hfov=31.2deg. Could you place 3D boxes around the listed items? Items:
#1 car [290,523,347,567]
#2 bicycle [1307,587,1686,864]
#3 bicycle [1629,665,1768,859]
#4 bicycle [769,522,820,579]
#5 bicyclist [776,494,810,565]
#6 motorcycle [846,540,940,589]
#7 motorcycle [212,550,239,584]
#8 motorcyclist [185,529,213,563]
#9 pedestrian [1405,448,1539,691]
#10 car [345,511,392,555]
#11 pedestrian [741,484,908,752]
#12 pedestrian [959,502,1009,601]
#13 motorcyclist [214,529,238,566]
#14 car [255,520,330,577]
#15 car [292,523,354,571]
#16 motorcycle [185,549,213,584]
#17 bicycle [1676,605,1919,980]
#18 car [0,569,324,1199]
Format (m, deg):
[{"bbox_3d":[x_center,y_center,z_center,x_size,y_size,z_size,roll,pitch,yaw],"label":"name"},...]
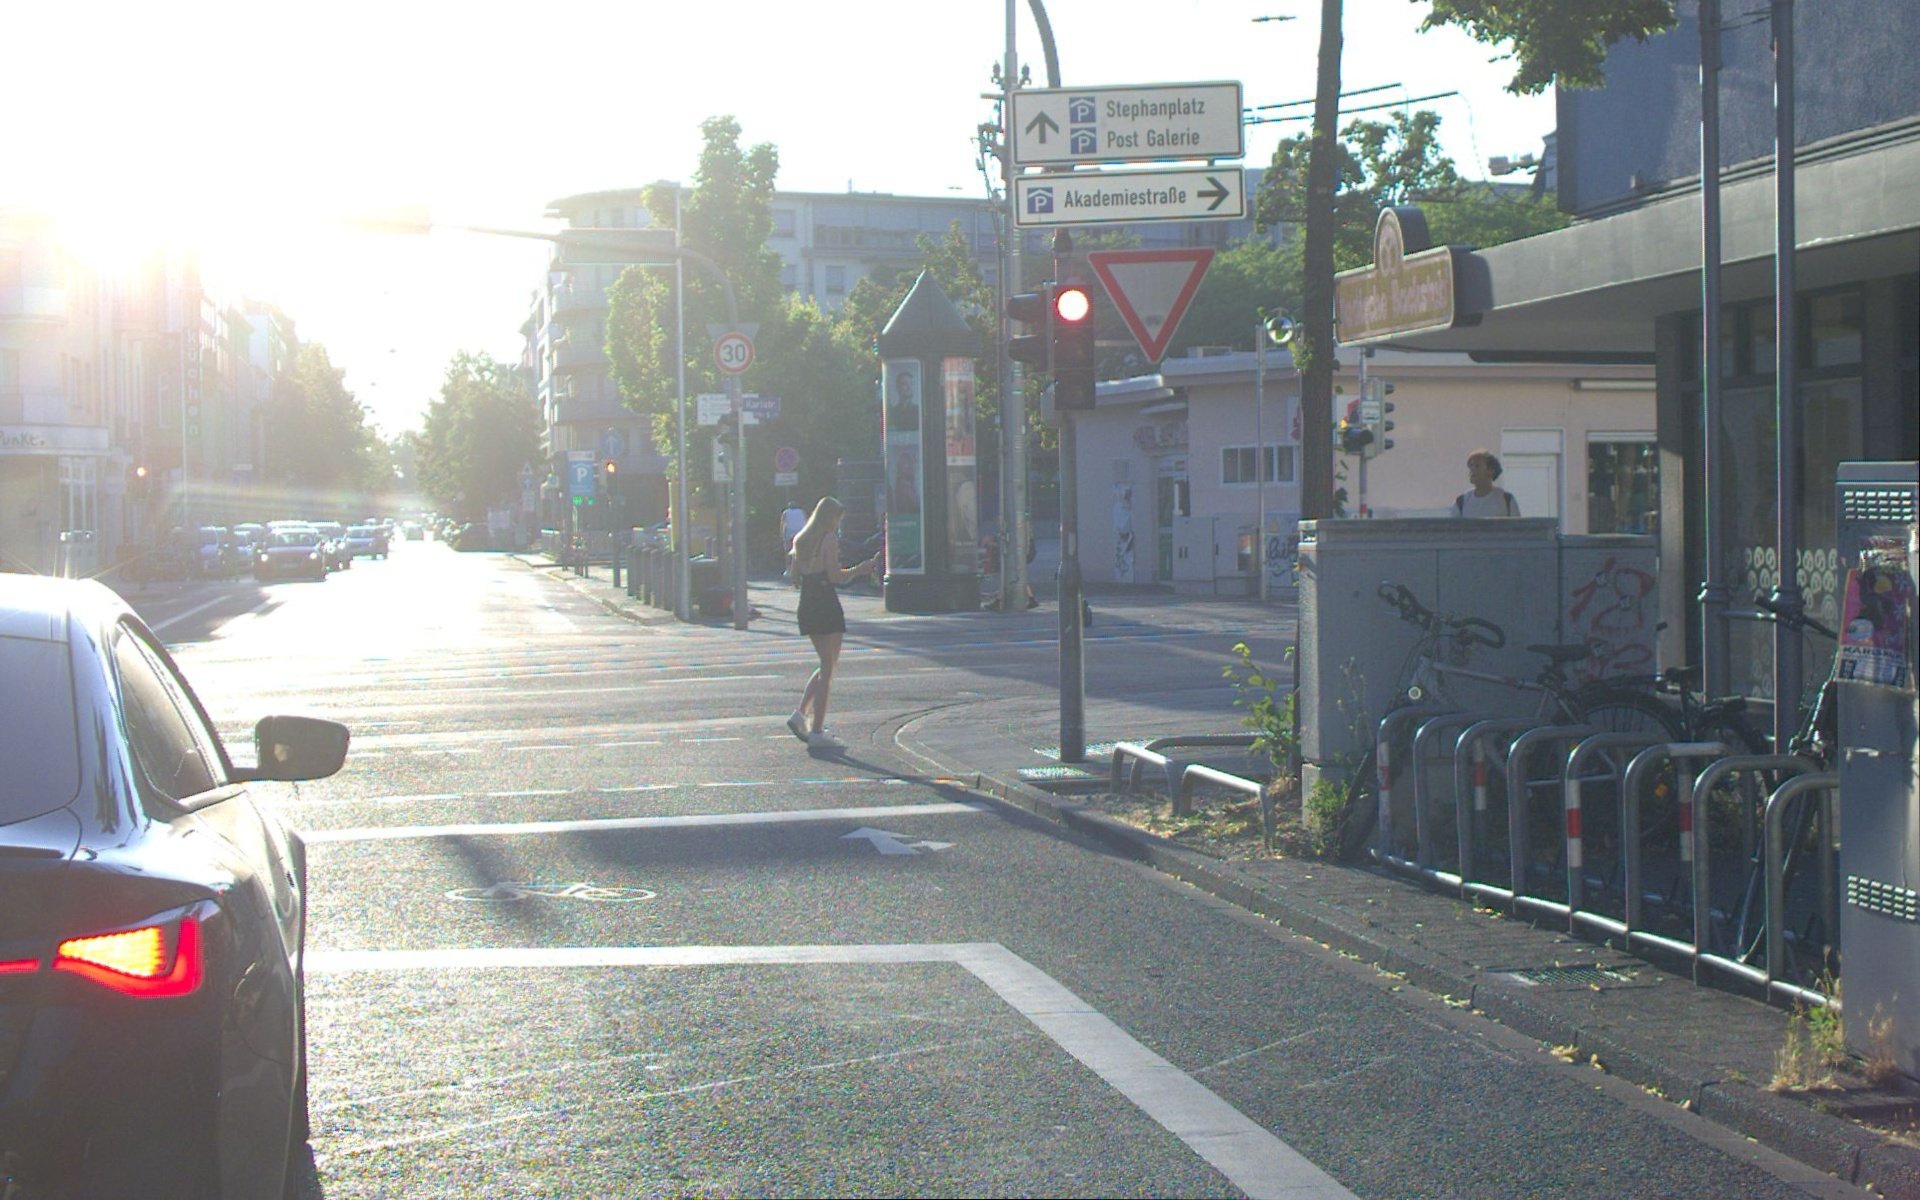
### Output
[{"bbox_3d":[-23.001,-1.981,123.361,1.817,1.514,4.001,-1,2,-8],"label":"car"},{"bbox_3d":[2.363,0.543,15.158,1.612,1.167,0.318,-1,1,-6],"label":"bicycle"},{"bbox_3d":[3.296,0.709,15.401,0.249,0.793,1.116,1,1,-7],"label":"bicycle"},{"bbox_3d":[-3.450,-1.031,71.410,0.550,1.155,2.145,0,1,-17],"label":"bicycle"},{"bbox_3d":[-3.479,-1.465,71.514,0.550,1.476,0.723,0,0,-17],"label":"bicyclist"},{"bbox_3d":[-1.327,-0.711,67.938,1.668,0.935,0.856,-1,2,-19],"label":"motorcycle"},{"bbox_3d":[-20.022,-0.903,93.761,0.575,0.912,2.201,1,1,-8],"label":"motorcycle"},{"bbox_3d":[-20.843,-1.484,94.156,0.575,0.912,2.201,1,1,-8],"label":"motorcyclist"},{"bbox_3d":[3.951,-0.241,26.544,0.835,1.835,0.679,-1,1,-8],"label":"pedestrian"},{"bbox_3d":[-25.689,-2.939,149.397,1.771,1.842,4.001,-1,2,-6],"label":"car"},{"bbox_3d":[-0.959,0.113,24.328,1.001,1.854,0.640,-1,1,-28],"label":"pedestrian"},{"bbox_3d":[0.374,-0.755,53.253,0.733,1.524,0.472,1,1,3],"label":"pedestrian"},{"bbox_3d":[-19.993,-1.430,93.654,0.575,0.992,0.703,1,1,-8],"label":"motorcyclist"},{"bbox_3d":[-18.352,-1.434,94.654,1.817,1.514,4.001,-1,2,-8],"label":"car"},{"bbox_3d":[-20.931,-1.753,113.001,1.817,1.514,4.001,-1,2,-8],"label":"car"},{"bbox_3d":[-20.847,-0.921,94.152,0.575,0.912,2.201,1,1,-8],"label":"motorcycle"},{"bbox_3d":[3.160,0.635,11.467,1.440,1.216,0.383,1,1,-7],"label":"bicycle"},{"bbox_3d":[-2.118,0.678,6.496,1.736,1.424,4.225,0,1,-10],"label":"car"}]
